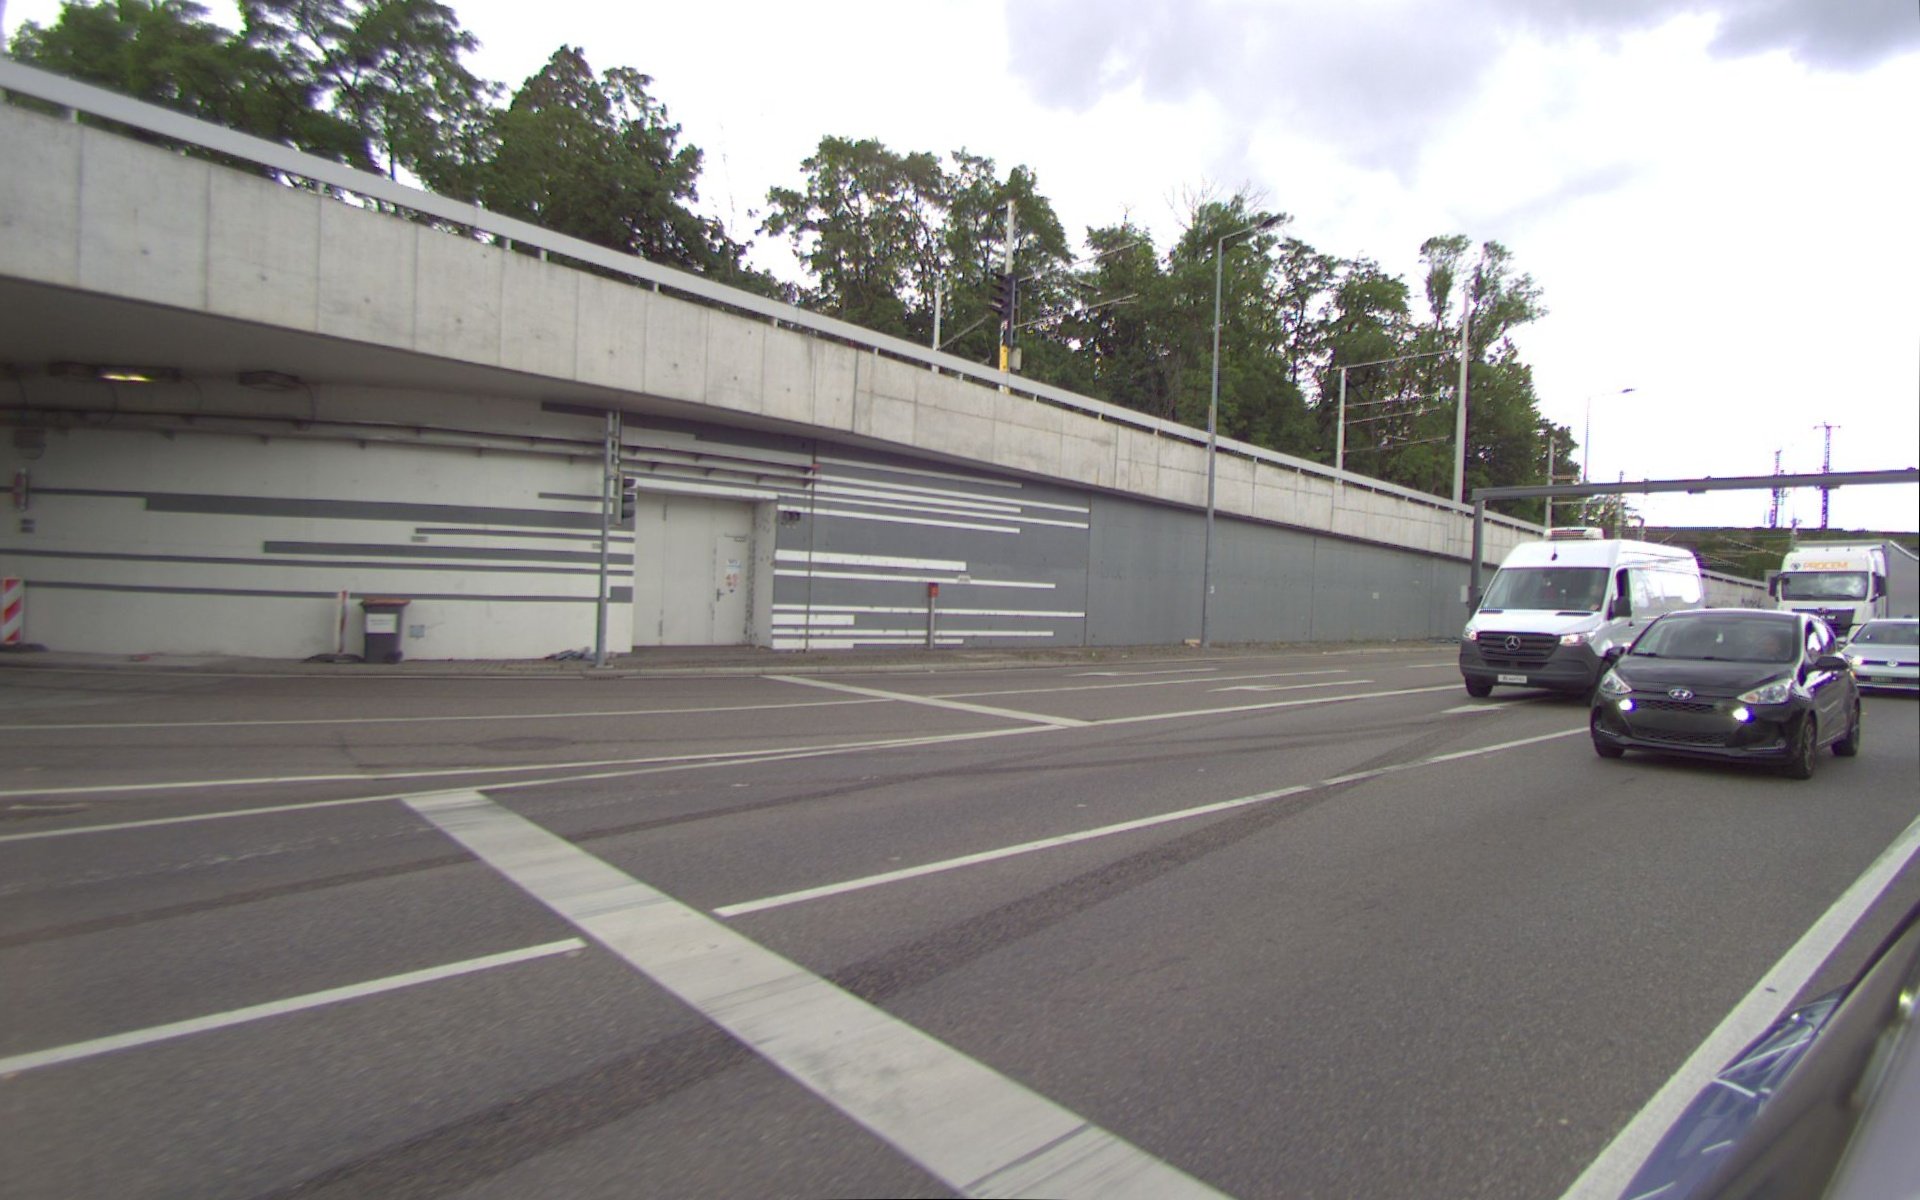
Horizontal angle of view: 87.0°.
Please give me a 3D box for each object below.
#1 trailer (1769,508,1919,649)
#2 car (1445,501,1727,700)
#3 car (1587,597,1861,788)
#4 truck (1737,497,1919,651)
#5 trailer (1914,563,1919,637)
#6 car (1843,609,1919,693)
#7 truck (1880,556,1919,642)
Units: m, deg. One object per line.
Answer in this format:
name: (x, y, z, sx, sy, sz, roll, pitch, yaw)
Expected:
trailer: (35.041, -0.620, 39.104, 11.900, 4.691, 3.811, 1, -1, -41)
car: (10.988, 0.057, 17.395, 7.197, 2.808, 2.079, 2, 0, -41)
car: (7.783, 0.784, 10.191, 3.632, 1.564, 1.683, 1, -1, -45)
truck: (29.846, -0.737, 34.616, 7.310, 4.691, 3.811, 1, -1, -41)
trailer: (59.070, 0.085, 58.970, 10.784, 4.195, 3.732, 1, -1, -39)
car: (18.070, 0.913, 19.004, 3.969, 1.400, 1.766, 0, 1, -42)
truck: (50.739, 0.043, 52.164, 10.790, 4.194, 3.730, 1, -1, -41)
